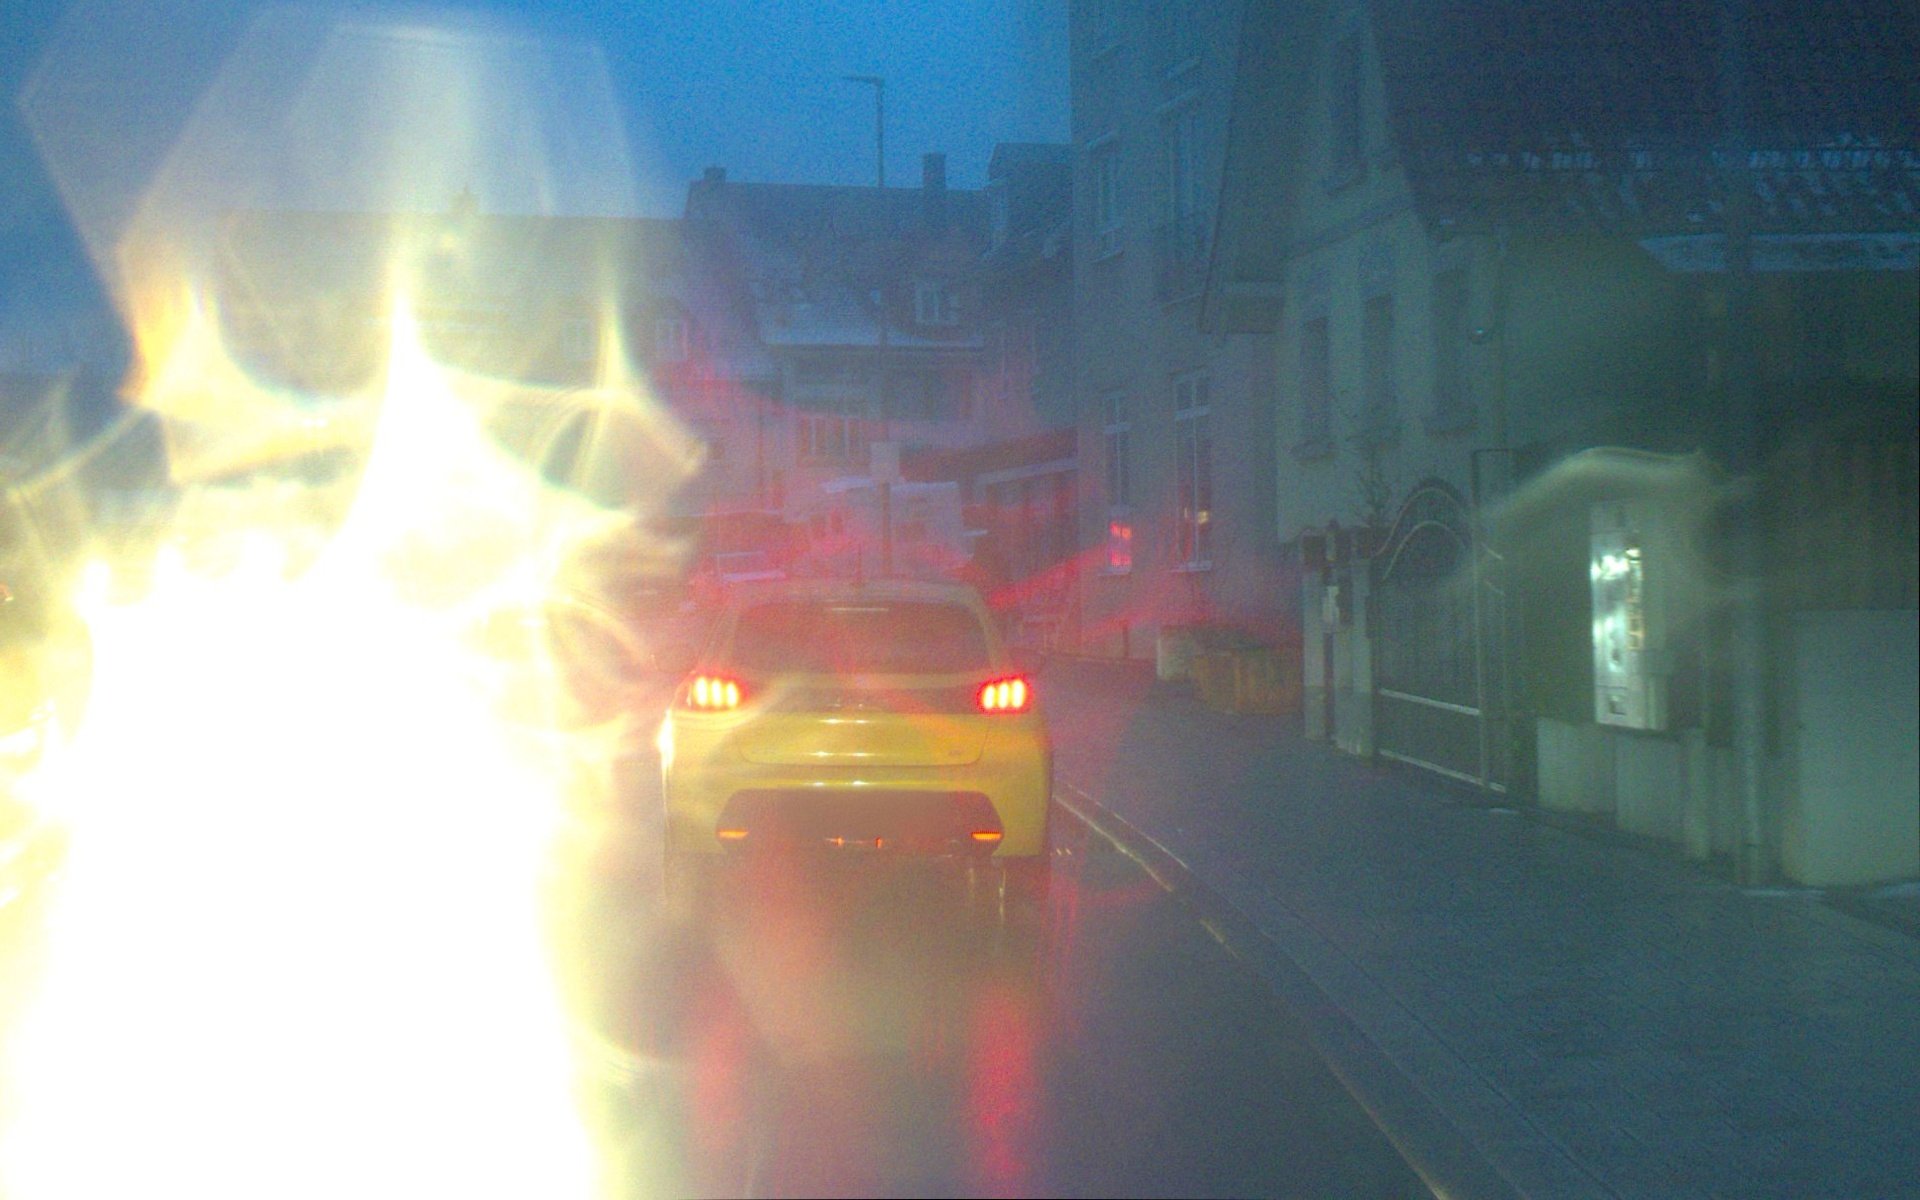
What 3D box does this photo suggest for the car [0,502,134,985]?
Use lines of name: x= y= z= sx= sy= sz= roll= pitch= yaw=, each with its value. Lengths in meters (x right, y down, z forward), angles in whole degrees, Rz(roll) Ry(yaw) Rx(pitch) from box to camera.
car: x=-4.440 y=0.500 z=12.497 sx=1.993 sy=1.700 sz=4.968 roll=2 pitch=2 yaw=-4

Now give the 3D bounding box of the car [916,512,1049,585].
car: x=0.514 y=-1.246 z=83.551 sx=1.788 sy=1.548 sz=4.001 roll=-7 pitch=3 yaw=-20

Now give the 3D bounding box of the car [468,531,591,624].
car: x=-7.722 y=-0.403 z=61.383 sx=1.993 sy=1.583 sz=4.001 roll=0 pitch=0 yaw=-10

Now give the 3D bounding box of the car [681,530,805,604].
car: x=-5.252 y=-0.779 z=82.766 sx=1.993 sy=1.605 sz=4.175 roll=-3 pitch=0 yaw=-17

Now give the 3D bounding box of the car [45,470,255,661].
car: x=-11.611 y=-0.458 z=49.722 sx=2.485 sy=2.551 sz=6.763 roll=1 pitch=0 yaw=-9

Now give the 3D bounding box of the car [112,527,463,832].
car: x=-4.282 y=0.412 z=22.223 sx=1.951 sy=1.541 sz=4.417 roll=-2 pitch=4 yaw=-10

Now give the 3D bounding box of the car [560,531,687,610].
car: x=-8.092 y=-0.716 z=82.290 sx=1.993 sy=1.759 sz=4.352 roll=-3 pitch=2 yaw=-19

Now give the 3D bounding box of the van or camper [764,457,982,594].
van or camper: x=-2.191 y=-1.779 z=83.659 sx=2.650 sy=3.037 sz=6.735 roll=-4 pitch=2 yaw=-25

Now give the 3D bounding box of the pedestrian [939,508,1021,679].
pedestrian: x=0.205 y=-0.077 z=35.500 sx=0.745 sy=1.723 sz=0.873 roll=-1 pitch=2 yaw=-6

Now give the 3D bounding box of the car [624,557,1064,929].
car: x=-0.505 y=0.576 z=16.273 sx=1.814 sy=1.528 sz=4.000 roll=0 pitch=0 yaw=-1

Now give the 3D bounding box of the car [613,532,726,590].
car: x=-8.006 y=-1.093 z=94.443 sx=1.822 sy=1.457 sz=4.550 roll=-3 pitch=2 yaw=-21
